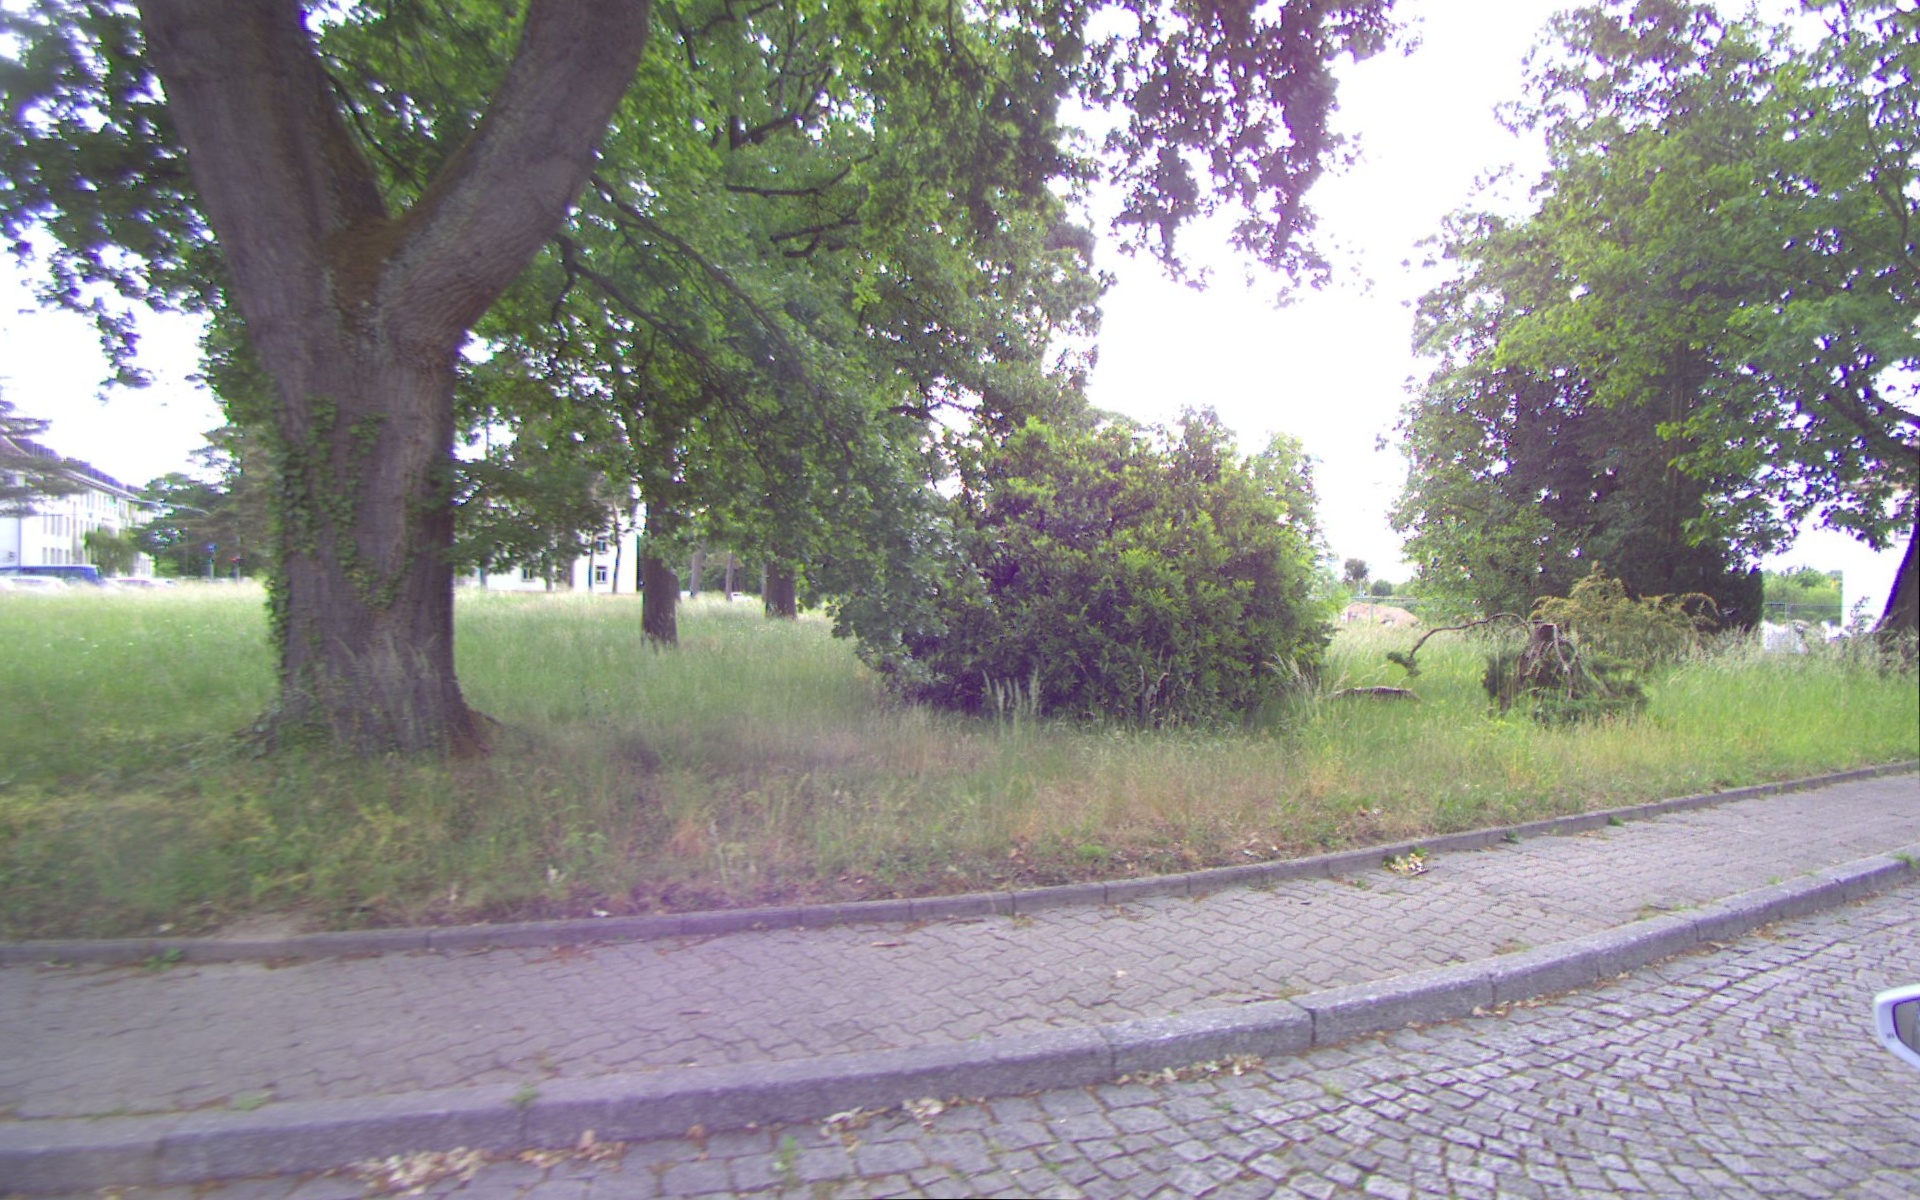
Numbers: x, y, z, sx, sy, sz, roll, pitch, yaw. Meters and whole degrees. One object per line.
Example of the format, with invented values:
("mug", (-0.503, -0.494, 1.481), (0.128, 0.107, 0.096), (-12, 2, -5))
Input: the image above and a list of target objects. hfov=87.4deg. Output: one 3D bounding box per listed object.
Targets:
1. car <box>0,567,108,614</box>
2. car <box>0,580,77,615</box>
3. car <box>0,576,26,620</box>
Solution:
("car", (-38.949, -0.411, 42.232), (4.495, 1.927, 1.777), (-1, 1, -33))
("car", (-37.787, -0.113, 40.017), (3.655, 1.357, 1.569), (-1, 1, -33))
("car", (-32.884, -0.053, 32.512), (3.624, 1.440, 1.563), (-1, 1, -33))
